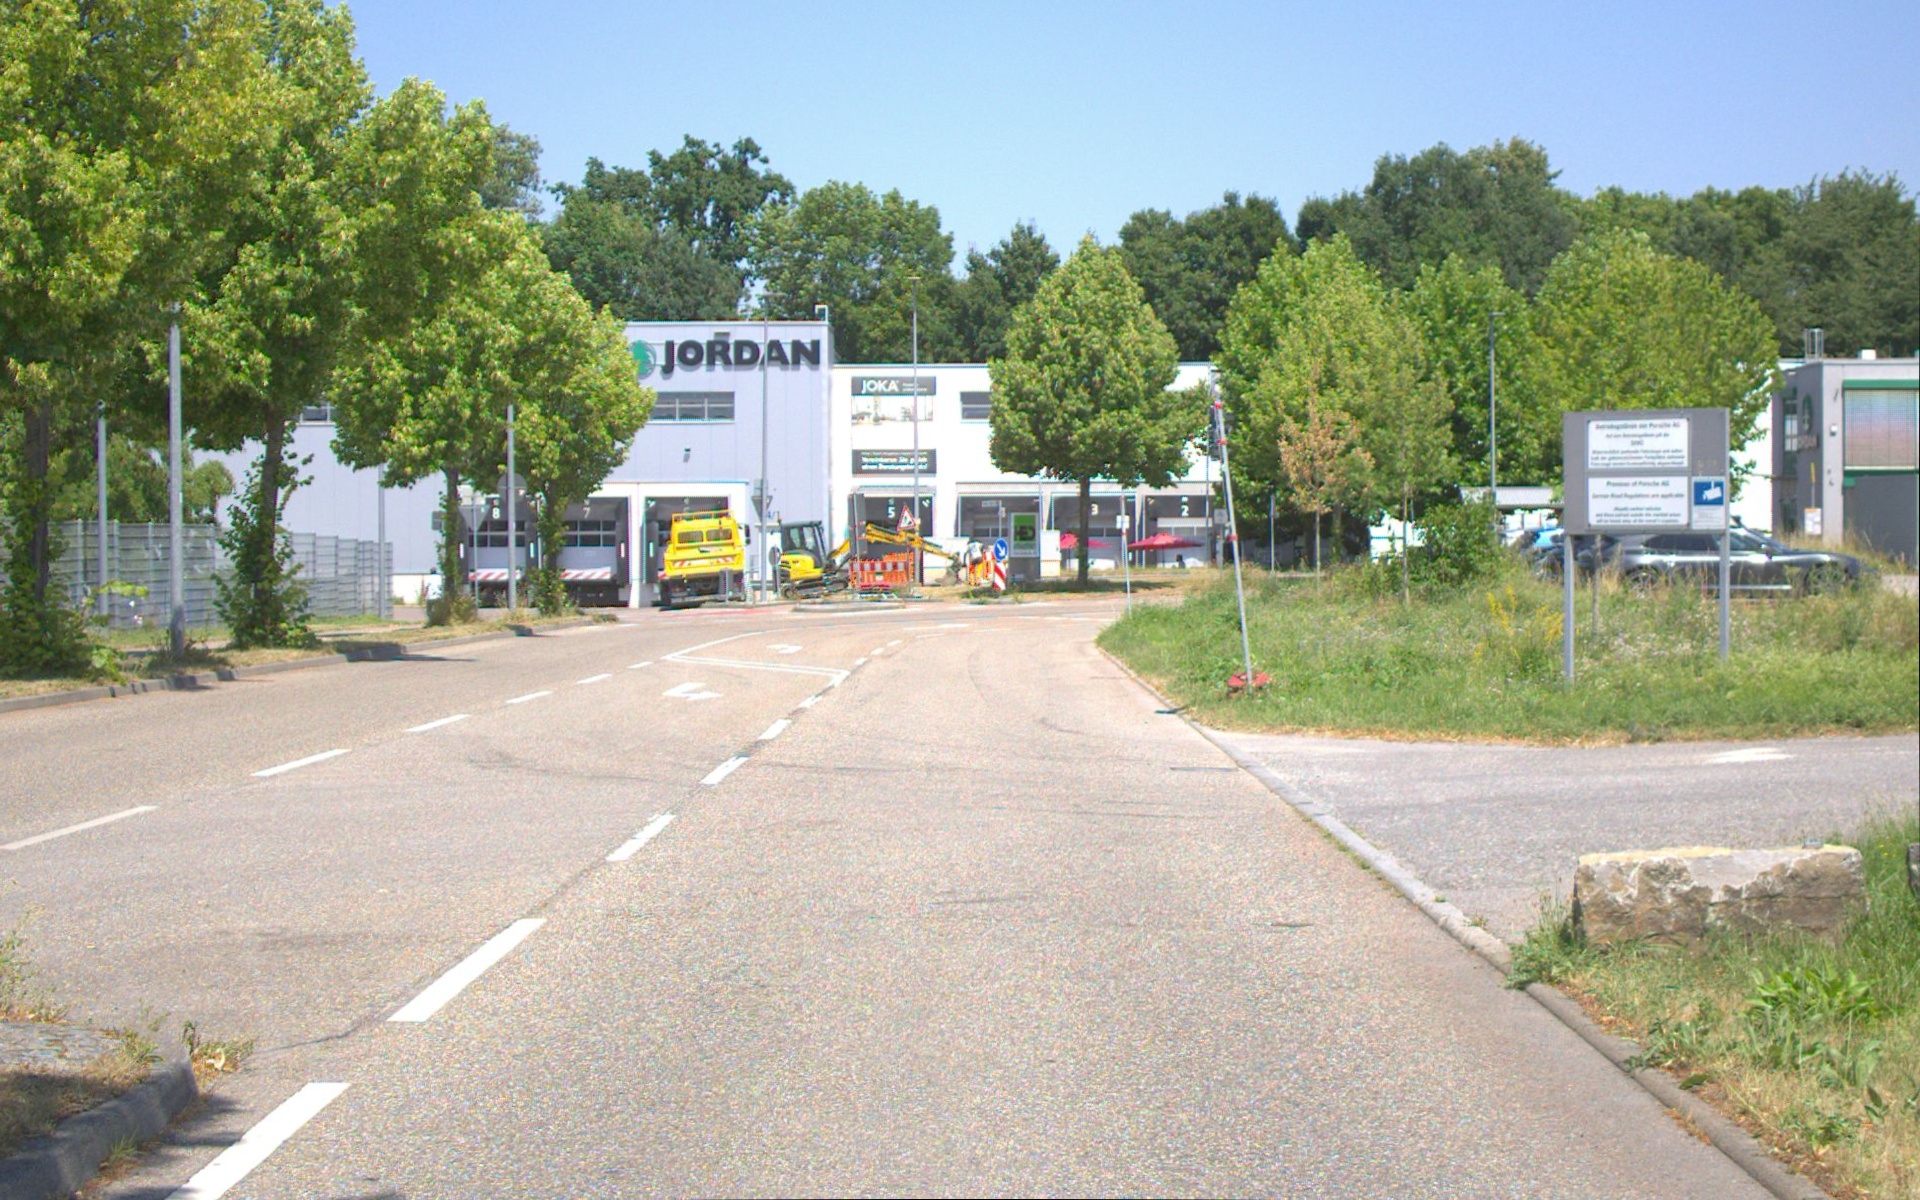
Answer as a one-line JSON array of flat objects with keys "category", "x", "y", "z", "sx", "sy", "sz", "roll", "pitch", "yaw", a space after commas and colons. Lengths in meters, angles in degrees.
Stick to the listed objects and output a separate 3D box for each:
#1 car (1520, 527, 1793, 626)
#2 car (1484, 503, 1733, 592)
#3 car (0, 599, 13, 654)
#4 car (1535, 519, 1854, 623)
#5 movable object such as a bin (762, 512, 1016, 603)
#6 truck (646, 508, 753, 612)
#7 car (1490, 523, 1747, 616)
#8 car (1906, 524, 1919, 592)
[{"category": "car", "x": 11.662, "y": -0.415, "z": 57.704, "sx": 4.162, "sy": 1.395, "sz": 1.769, "roll": -2, "pitch": 4, "yaw": -3}, {"category": "car", "x": 11.871, "y": -0.977, "z": 63.071, "sx": 4.162, "sy": 1.395, "sz": 1.769, "roll": -2, "pitch": 4, "yaw": -3}, {"category": "car", "x": -31.159, "y": 0.937, "z": 108.110, "sx": 1.993, "sy": 1.546, "sz": 4.002, "roll": -2, "pitch": 4, "yaw": -6}, {"category": "car", "x": 11.702, "y": -0.470, "z": 54.998, "sx": 4.704, "sy": 1.395, "sz": 1.922, "roll": -2, "pitch": 4, "yaw": 3}, {"category": "movable object such as a bin", "x": -2.226, "y": -1.365, "z": 109.667, "sx": 7.528, "sy": 2.491, "sz": 3.665, "roll": -1, "pitch": 4, "yaw": 9}, {"category": "truck", "x": -8.376, "y": -1.329, "z": 110.111, "sx": 2.938, "sy": 2.875, "sz": 5.812, "roll": -2, "pitch": 4, "yaw": -8}, {"category": "car", "x": 11.656, "y": -0.550, "z": 60.986, "sx": 4.162, "sy": 1.395, "sz": 1.769, "roll": -2, "pitch": 4, "yaw": -3}, {"category": "car", "x": 22.375, "y": -0.931, "z": 73.071, "sx": 3.986, "sy": 1.395, "sz": 1.769, "roll": -2, "pitch": 4, "yaw": -3}]
